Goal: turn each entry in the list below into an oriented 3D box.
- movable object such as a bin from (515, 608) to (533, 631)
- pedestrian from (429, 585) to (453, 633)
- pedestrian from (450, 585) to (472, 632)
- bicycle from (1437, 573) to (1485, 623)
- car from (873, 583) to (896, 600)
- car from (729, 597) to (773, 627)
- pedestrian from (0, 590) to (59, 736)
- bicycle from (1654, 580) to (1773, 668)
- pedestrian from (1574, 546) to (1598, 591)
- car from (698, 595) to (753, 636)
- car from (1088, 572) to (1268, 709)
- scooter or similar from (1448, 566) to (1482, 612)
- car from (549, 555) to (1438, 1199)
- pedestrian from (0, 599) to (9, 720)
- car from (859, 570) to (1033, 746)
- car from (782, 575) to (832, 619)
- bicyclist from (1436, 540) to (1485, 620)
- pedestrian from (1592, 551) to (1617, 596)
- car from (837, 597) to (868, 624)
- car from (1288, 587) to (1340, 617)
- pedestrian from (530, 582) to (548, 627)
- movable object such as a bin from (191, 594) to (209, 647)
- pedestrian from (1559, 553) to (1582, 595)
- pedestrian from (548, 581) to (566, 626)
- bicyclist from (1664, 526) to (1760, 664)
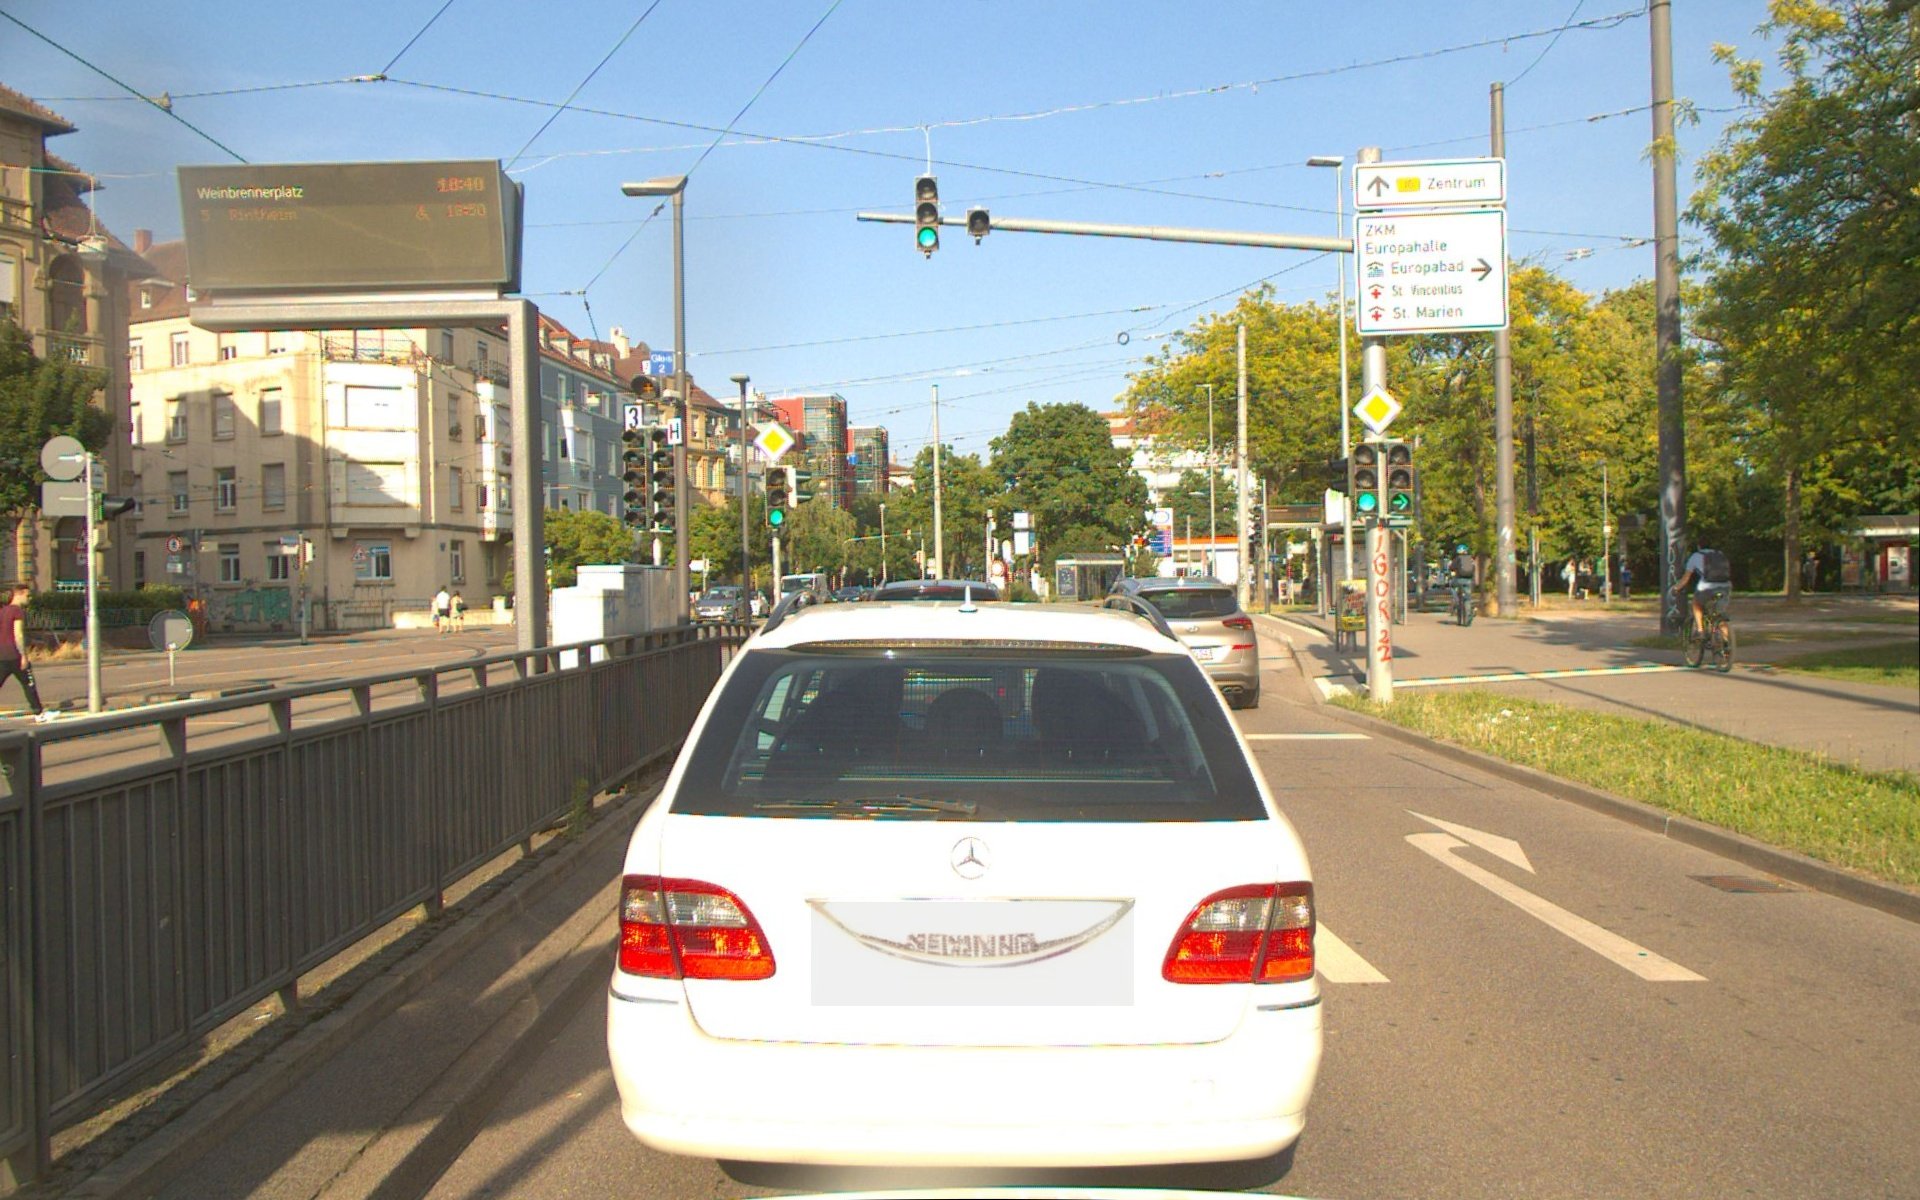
[{"bbox_3d":[-18.805,0.847,71.309,0.571,0.963,0.663,-1,0,0],"label":"movable object such as a bin"},{"bbox_3d":[-21.075,0.368,67.151,0.644,1.913,0.627,-1,0,14],"label":"pedestrian"},{"bbox_3d":[-20.312,0.352,67.290,0.661,1.880,0.649,-1,0,-3],"label":"pedestrian"},{"bbox_3d":[11.638,-0.049,38.456,0.627,1.107,1.734,-4,0,3],"label":"bicycle"},{"bbox_3d":[-6.696,-0.768,147.054,1.600,1.458,3.630,-1,1,3],"label":"car"},{"bbox_3d":[-11.313,0.651,89.784,1.757,1.482,4.001,-2,1,1],"label":"car"},{"bbox_3d":[-11.336,0.744,19.719,0.876,1.699,0.661,-2,0,-42],"label":"pedestrian"},{"bbox_3d":[10.196,0.309,22.465,0.627,1.107,1.939,-4,0,-1],"label":"bicycle"},{"bbox_3d":[24.256,-1.218,64.102,0.628,1.694,0.690,-1,0,-1],"label":"pedestrian"},{"bbox_3d":[-10.065,0.627,71.161,1.642,1.552,4.126,-1,2,2],"label":"car"},{"bbox_3d":[2.751,0.466,21.640,1.798,1.628,3.814,0,0,-1],"label":"car"},{"bbox_3d":[13.941,-0.303,45.661,0.345,1.253,1.131,-1,0,-15],"label":"scooter or similar"},{"bbox_3d":[0.046,0.660,5.257,1.798,1.527,3.814,0,0,-1],"label":"car"},{"bbox_3d":[-13.137,0.800,21.980,0.578,1.617,0.715,-1,0,-5],"label":"pedestrian"},{"bbox_3d":[-0.157,0.527,17.325,1.608,1.628,3.814,0,0,-1],"label":"car"},{"bbox_3d":[-8.199,-0.189,88.913,2.132,2.278,5.253,-1,1,0],"label":"car"},{"bbox_3d":[11.599,-0.472,38.376,0.705,1.776,1.140,-4,0,3],"label":"bicyclist"},{"bbox_3d":[24.527,-1.019,62.933,0.628,1.694,0.690,-1,0,-1],"label":"pedestrian"},{"bbox_3d":[-6.976,0.642,107.332,1.731,1.520,4.744,-2,2,-1],"label":"car"},{"bbox_3d":[20.336,0.107,94.837,1.818,1.542,3.994,-3,0,29],"label":"car"},{"bbox_3d":[-18.017,0.196,70.758,0.573,1.913,0.626,-1,0,-3],"label":"pedestrian"},{"bbox_3d":[-25.569,0.683,55.647,0.261,1.739,2.357,-2,1,-31],"label":"movable object such as a bin"},{"bbox_3d":[23.972,-1.024,64.946,0.628,1.638,0.690,-1,0,-1],"label":"pedestrian"},{"bbox_3d":[-17.275,0.160,70.925,0.573,1.913,0.626,-1,0,-3],"label":"pedestrian"},{"bbox_3d":[10.158,-0.069,22.387,0.636,1.776,1.140,-4,0,-2],"label":"bicyclist"}]
